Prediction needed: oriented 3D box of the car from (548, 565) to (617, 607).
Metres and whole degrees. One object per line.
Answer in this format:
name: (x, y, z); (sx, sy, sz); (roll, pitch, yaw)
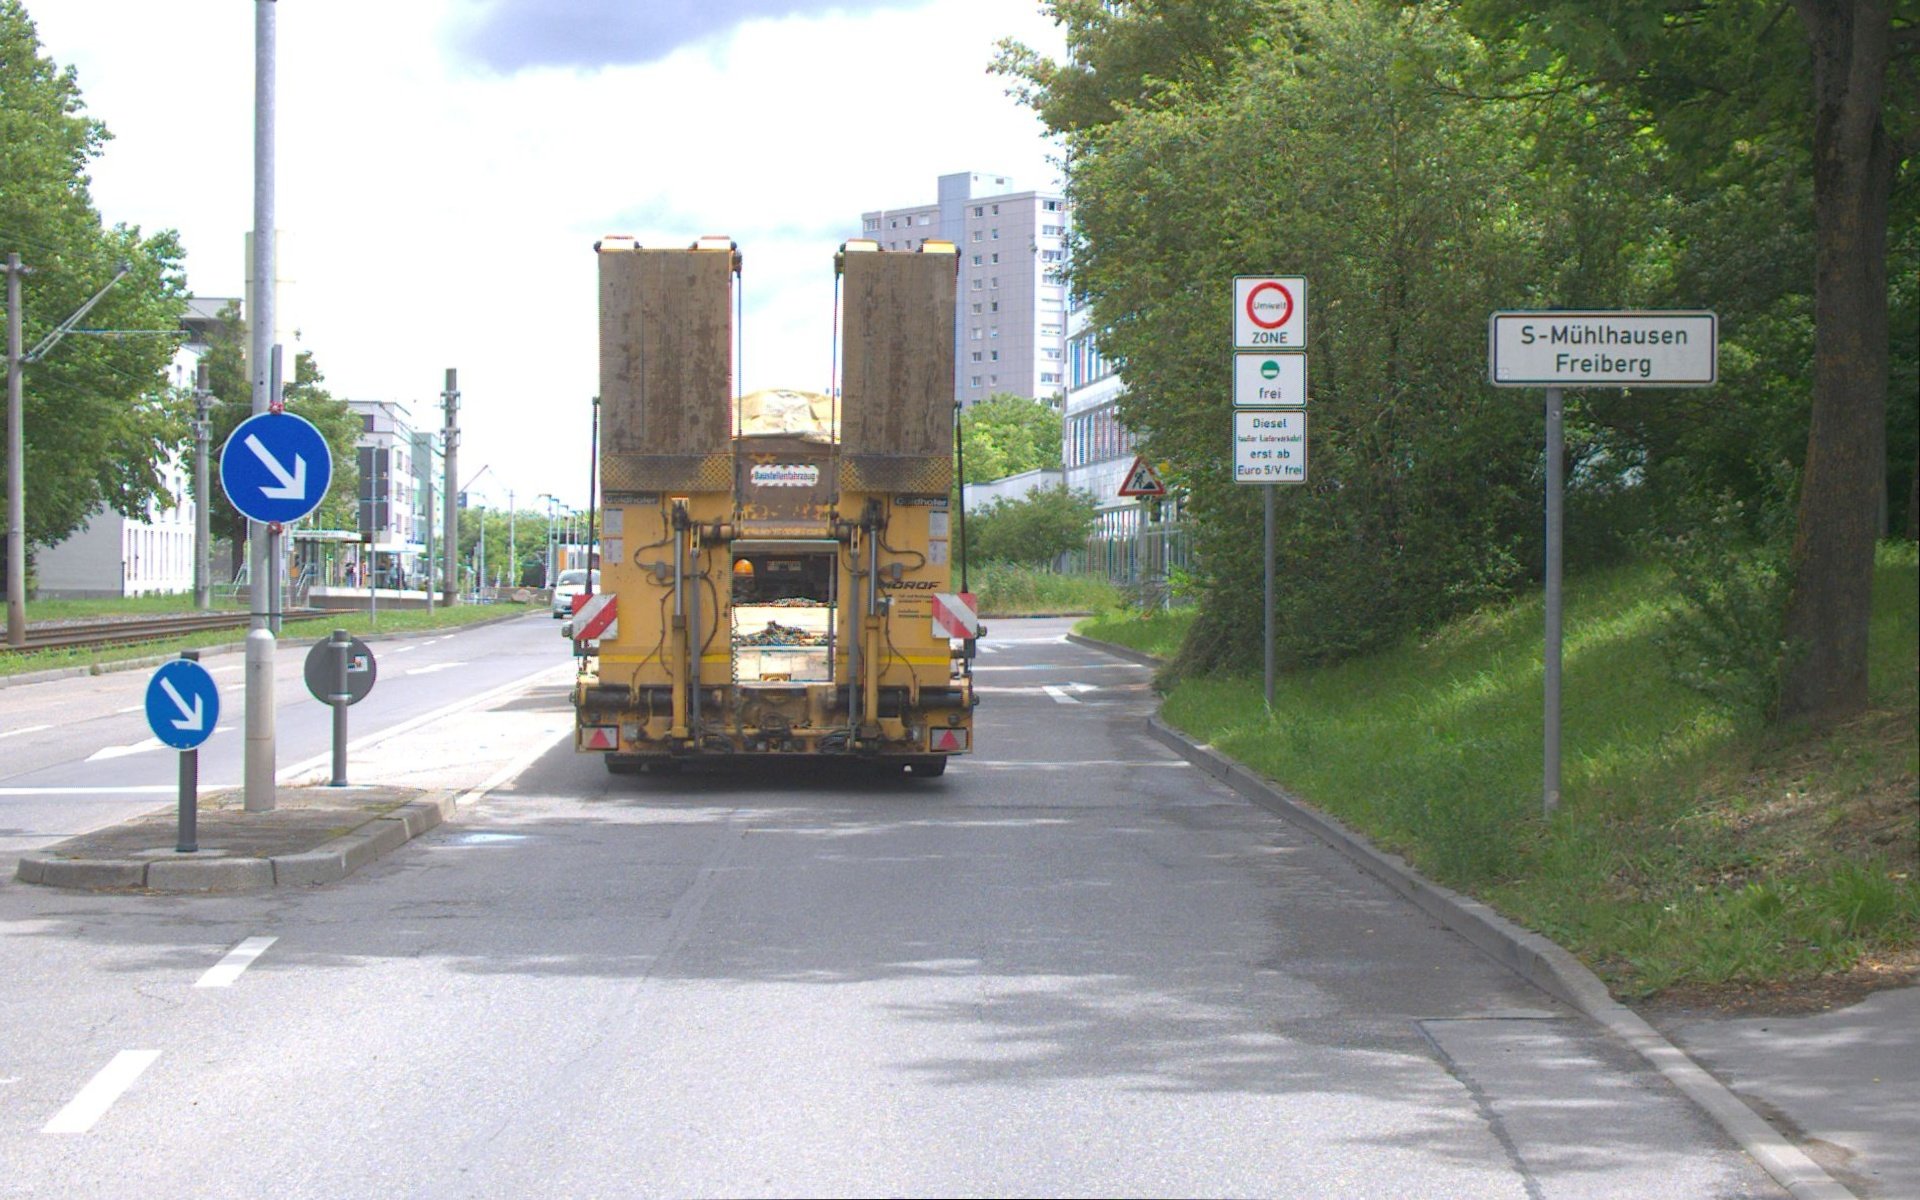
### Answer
car: (-11.874, -0.454, 108.338); (1.783, 1.267, 4.345); (1, 0, -2)

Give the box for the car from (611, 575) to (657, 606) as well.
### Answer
car: (-13.969, -0.422, 147.594); (1.783, 1.267, 4.345); (0, 0, -3)

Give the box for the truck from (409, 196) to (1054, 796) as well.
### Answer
truck: (-1.275, -0.704, 27.776); (3.316, 3.638, 12.560); (2, 1, 4)

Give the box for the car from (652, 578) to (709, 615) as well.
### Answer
car: (-9.936, -0.140, 122.509); (1.783, 1.267, 4.345); (1, 0, -2)

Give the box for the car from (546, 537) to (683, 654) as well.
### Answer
car: (-6.042, -0.101, 60.515); (1.993, 1.919, 4.000); (3, 1, -1)

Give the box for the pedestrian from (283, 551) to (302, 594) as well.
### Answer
pedestrian: (-31.648, -1.310, 163.038); (0.653, 2.007, 0.653); (3, 0, 4)

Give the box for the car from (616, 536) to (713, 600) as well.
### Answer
car: (-7.160, -0.784, 83.613); (1.993, 1.415, 4.000); (3, 1, -1)
